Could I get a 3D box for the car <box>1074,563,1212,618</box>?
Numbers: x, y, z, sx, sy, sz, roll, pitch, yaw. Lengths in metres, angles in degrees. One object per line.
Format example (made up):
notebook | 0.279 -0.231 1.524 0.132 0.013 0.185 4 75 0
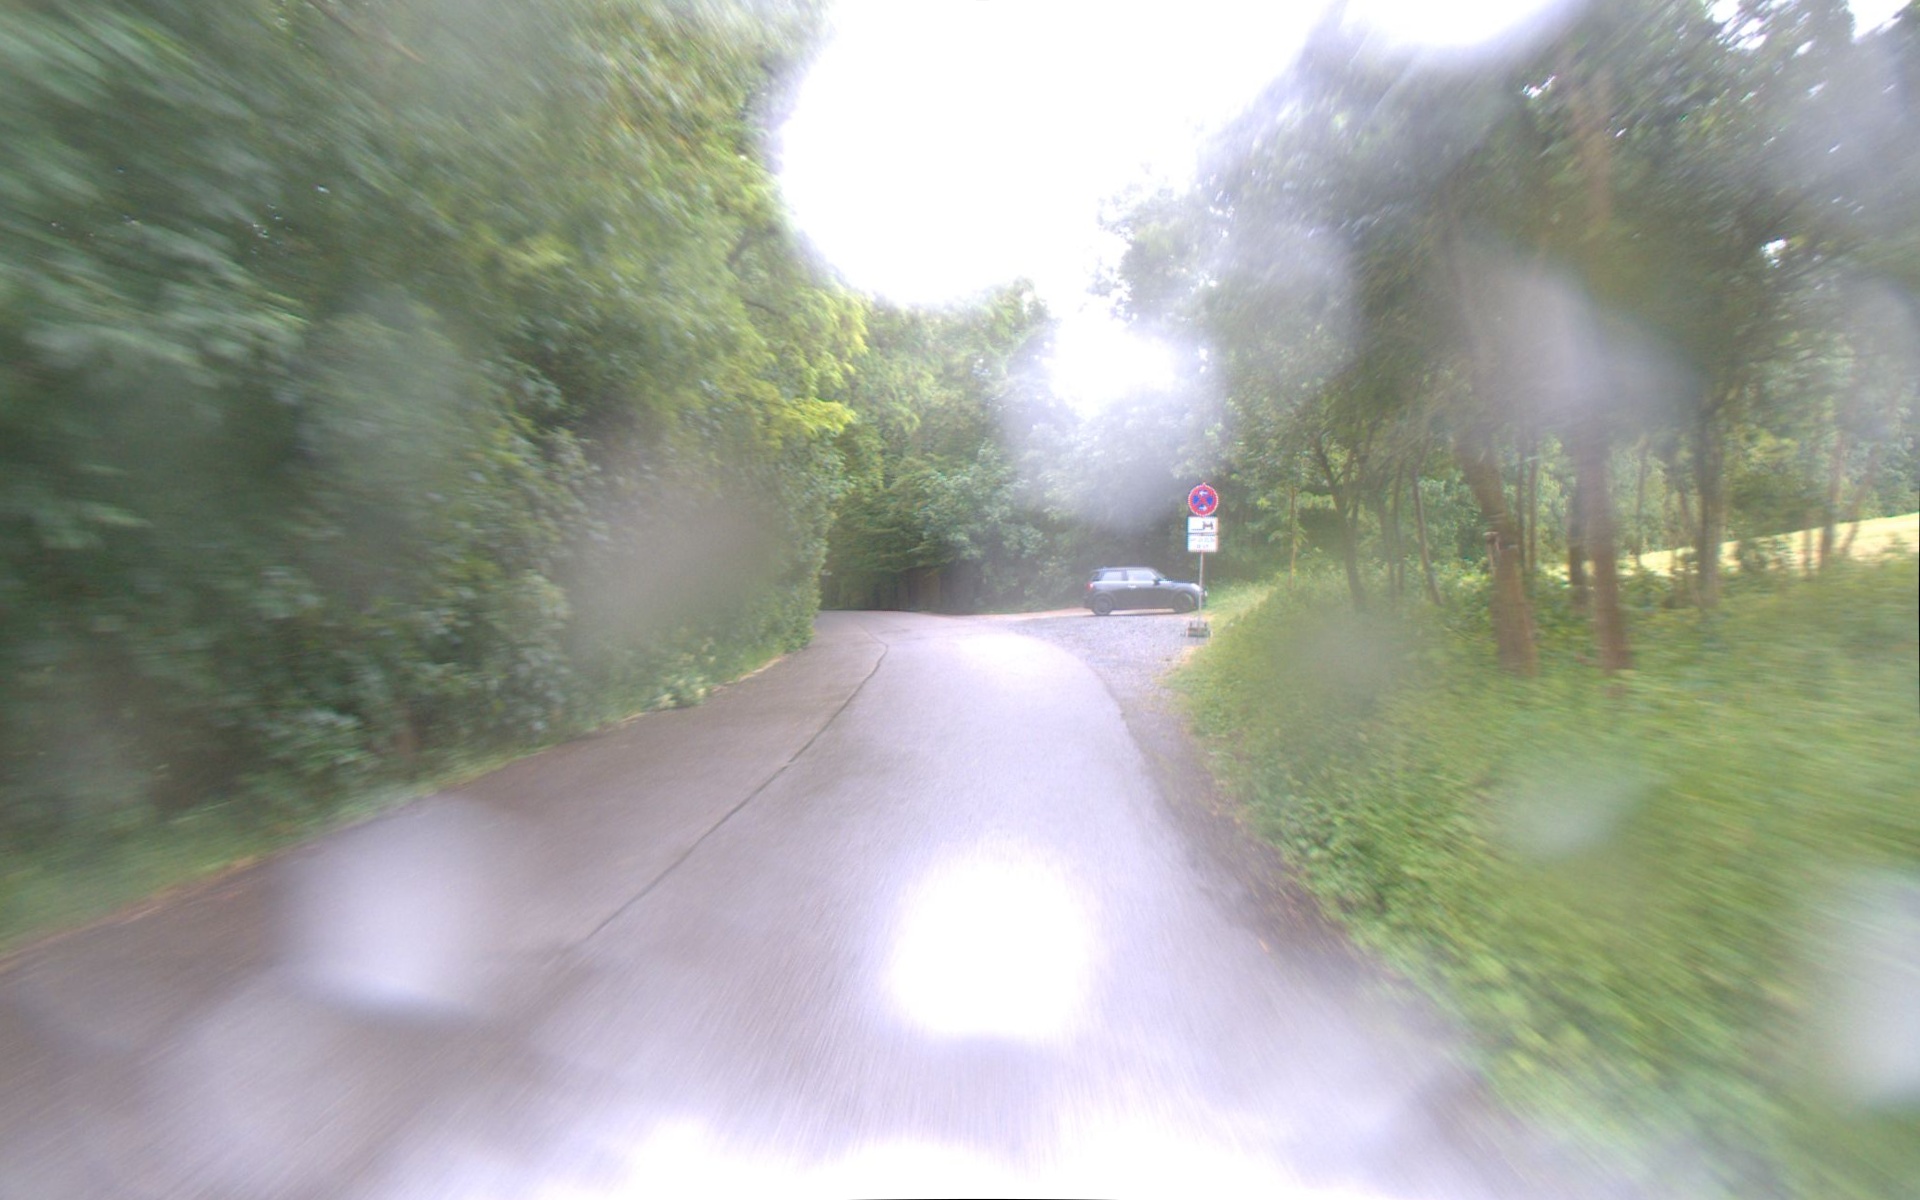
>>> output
car | 5.501 -0.312 50.003 3.906 1.415 2.000 -3 1 0
